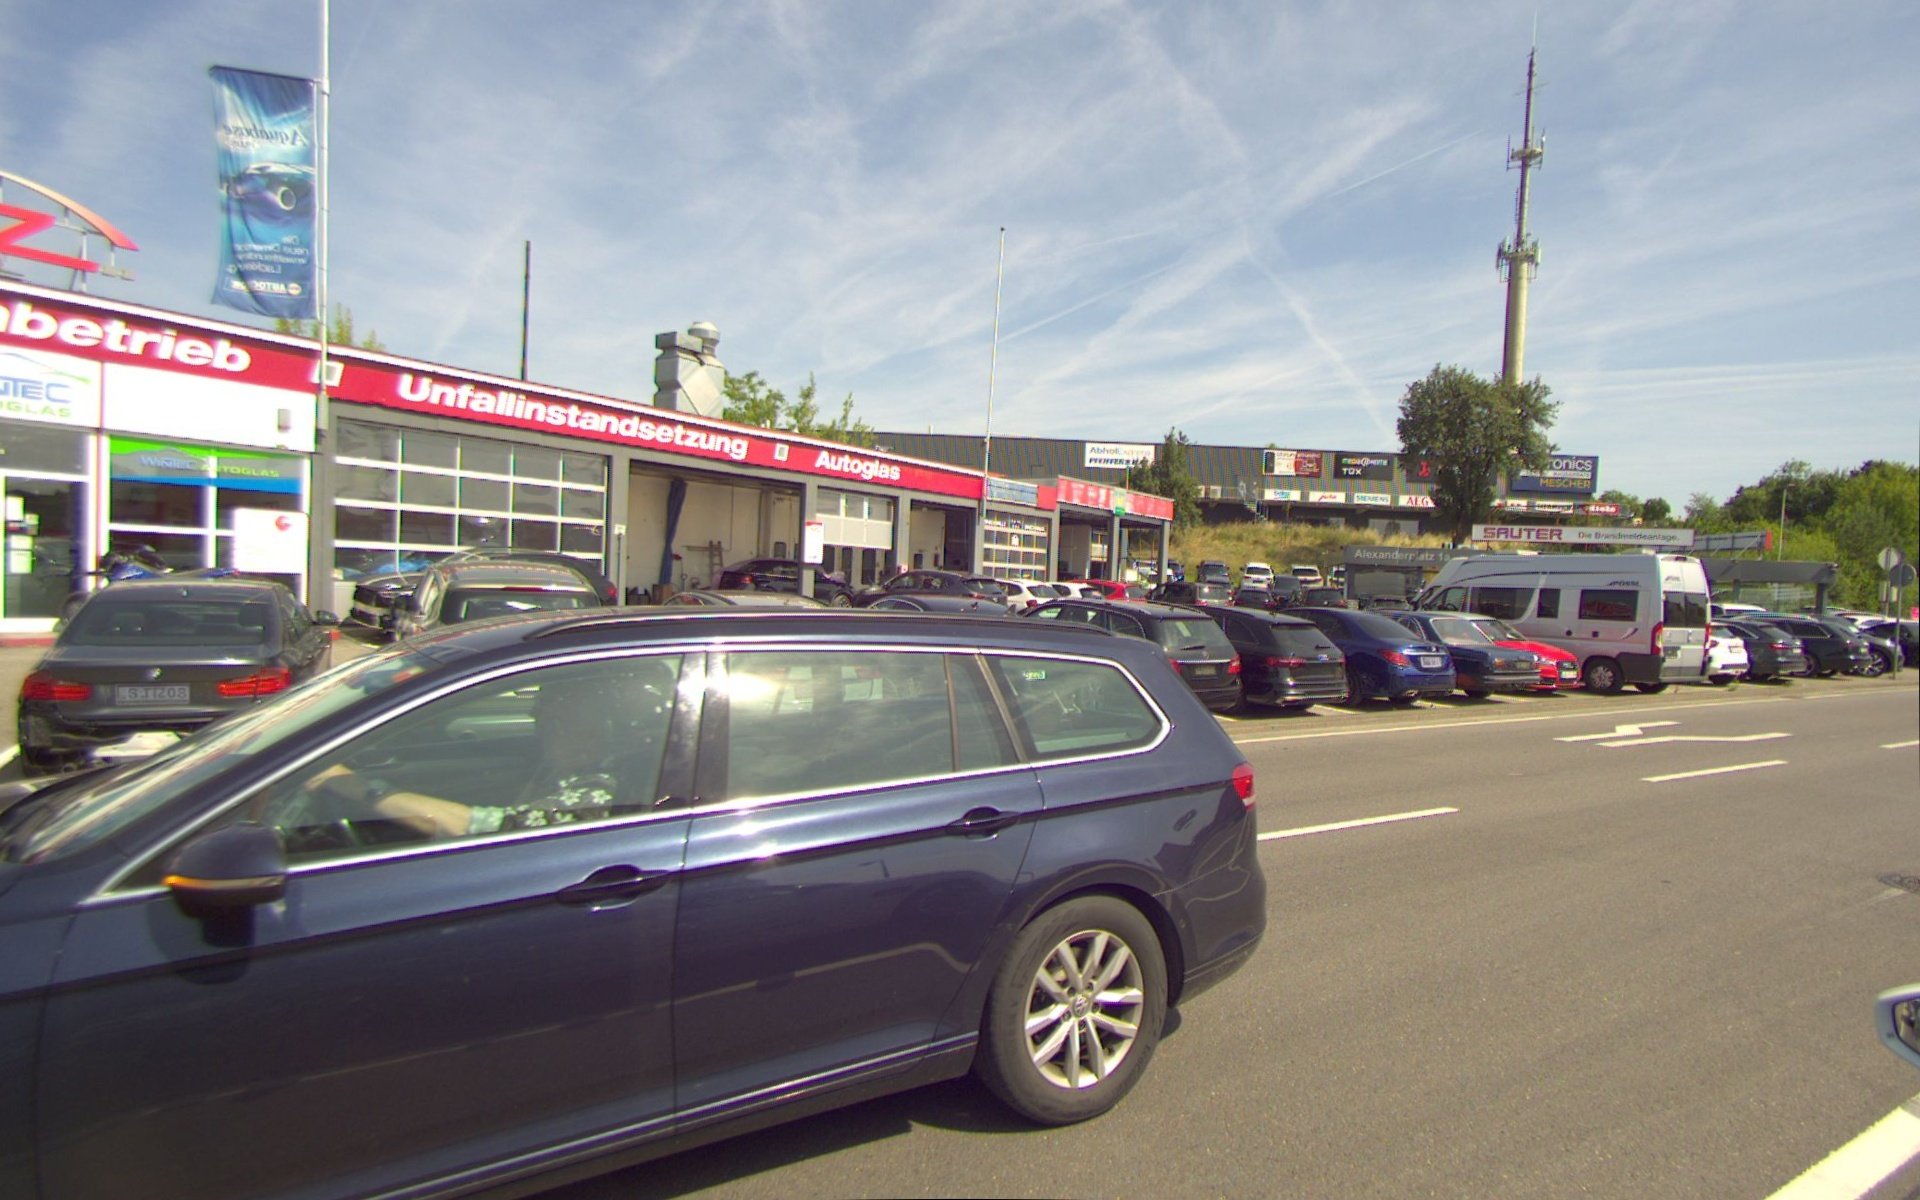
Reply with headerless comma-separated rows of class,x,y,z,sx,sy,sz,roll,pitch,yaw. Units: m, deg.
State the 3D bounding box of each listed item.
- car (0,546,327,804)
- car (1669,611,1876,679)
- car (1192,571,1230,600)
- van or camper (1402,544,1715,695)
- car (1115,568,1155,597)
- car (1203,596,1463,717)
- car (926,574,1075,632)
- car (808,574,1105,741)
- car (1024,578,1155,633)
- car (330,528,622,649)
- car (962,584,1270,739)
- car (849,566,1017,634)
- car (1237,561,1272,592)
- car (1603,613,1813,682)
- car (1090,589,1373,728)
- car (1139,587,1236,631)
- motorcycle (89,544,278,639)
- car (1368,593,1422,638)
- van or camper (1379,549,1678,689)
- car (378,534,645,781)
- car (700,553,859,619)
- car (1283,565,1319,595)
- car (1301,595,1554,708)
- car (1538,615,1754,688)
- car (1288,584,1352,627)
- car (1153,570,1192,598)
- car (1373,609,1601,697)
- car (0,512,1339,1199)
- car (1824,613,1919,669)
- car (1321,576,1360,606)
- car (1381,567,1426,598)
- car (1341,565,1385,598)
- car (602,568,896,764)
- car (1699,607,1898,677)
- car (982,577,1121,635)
car,-6.485,0.431,8.596,1.772,1.546,3.686,1,4,-32
car,21.031,1.116,26.150,1.822,1.560,3.796,1,0,-31
car,13.967,-0.764,55.794,1.702,1.470,3.749,3,1,18
van or camper,12.325,0.317,21.152,2.184,2.768,5.221,1,1,-29
car,9.978,-0.978,57.098,1.702,1.470,3.749,3,1,18
car,5.952,0.800,16.413,1.689,1.577,3.686,0,3,-32
car,1.078,0.062,27.667,3.767,1.451,1.763,1,0,36
car,-0.250,0.580,12.884,1.779,1.505,4.273,1,4,-32
car,4.133,0.157,32.284,3.767,1.609,1.763,1,0,36
car,-8.203,-0.148,17.367,1.797,1.696,4.116,9,3,34
car,1.971,0.709,14.114,1.752,1.505,4.433,1,4,-32
car,-0.710,-0.033,24.918,3.886,1.553,1.763,1,0,36
car,16.264,-1.264,55.313,1.702,1.558,3.749,3,1,18
car,18.504,1.122,25.005,1.822,1.467,3.796,1,0,-31
car,3.897,0.755,15.027,1.782,1.505,3.822,1,4,-32
car,8.760,0.315,38.970,1.744,1.609,3.808,1,0,-23
motorcycle,-11.233,-0.100,14.600,0.760,1.278,2.046,2,0,38
car,16.813,0.589,38.733,1.736,1.609,3.825,2,0,26
van or camper,13.341,0.339,24.102,2.263,2.912,5.863,1,1,-30
car,-4.454,0.343,9.623,1.787,1.740,3.863,1,4,-32
car,-4.978,-0.350,28.004,3.987,1.694,1.887,1,0,-43
car,18.539,-1.080,54.727,1.702,1.470,3.749,3,1,18
car,8.213,0.832,17.954,1.689,1.505,3.686,1,4,-32
car,16.065,1.146,23.702,1.822,1.467,3.796,1,0,-31
car,14.444,0.234,40.492,1.733,1.609,3.831,1,0,9
car,12.009,-0.881,56.533,1.702,1.470,3.749,3,1,18
car,10.251,0.973,19.773,1.791,1.500,3.577,1,0,-30
car,-1.060,0.664,2.988,4.337,1.580,1.797,1,0,-31
car,31.734,1.363,33.399,2.089,1.716,4.529,1,0,1
car,20.380,-0.478,53.861,1.702,1.470,3.749,3,1,18
car,23.275,-0.908,52.790,1.702,1.470,3.749,3,1,18
car,20.018,-0.895,49.949,1.702,1.470,3.749,3,1,18
car,-2.557,0.555,11.224,1.816,1.505,4.252,1,4,-32
car,22.901,1.096,27.565,1.822,1.698,3.796,1,0,-31
car,2.724,0.147,30.169,3.767,1.609,1.763,1,0,36
